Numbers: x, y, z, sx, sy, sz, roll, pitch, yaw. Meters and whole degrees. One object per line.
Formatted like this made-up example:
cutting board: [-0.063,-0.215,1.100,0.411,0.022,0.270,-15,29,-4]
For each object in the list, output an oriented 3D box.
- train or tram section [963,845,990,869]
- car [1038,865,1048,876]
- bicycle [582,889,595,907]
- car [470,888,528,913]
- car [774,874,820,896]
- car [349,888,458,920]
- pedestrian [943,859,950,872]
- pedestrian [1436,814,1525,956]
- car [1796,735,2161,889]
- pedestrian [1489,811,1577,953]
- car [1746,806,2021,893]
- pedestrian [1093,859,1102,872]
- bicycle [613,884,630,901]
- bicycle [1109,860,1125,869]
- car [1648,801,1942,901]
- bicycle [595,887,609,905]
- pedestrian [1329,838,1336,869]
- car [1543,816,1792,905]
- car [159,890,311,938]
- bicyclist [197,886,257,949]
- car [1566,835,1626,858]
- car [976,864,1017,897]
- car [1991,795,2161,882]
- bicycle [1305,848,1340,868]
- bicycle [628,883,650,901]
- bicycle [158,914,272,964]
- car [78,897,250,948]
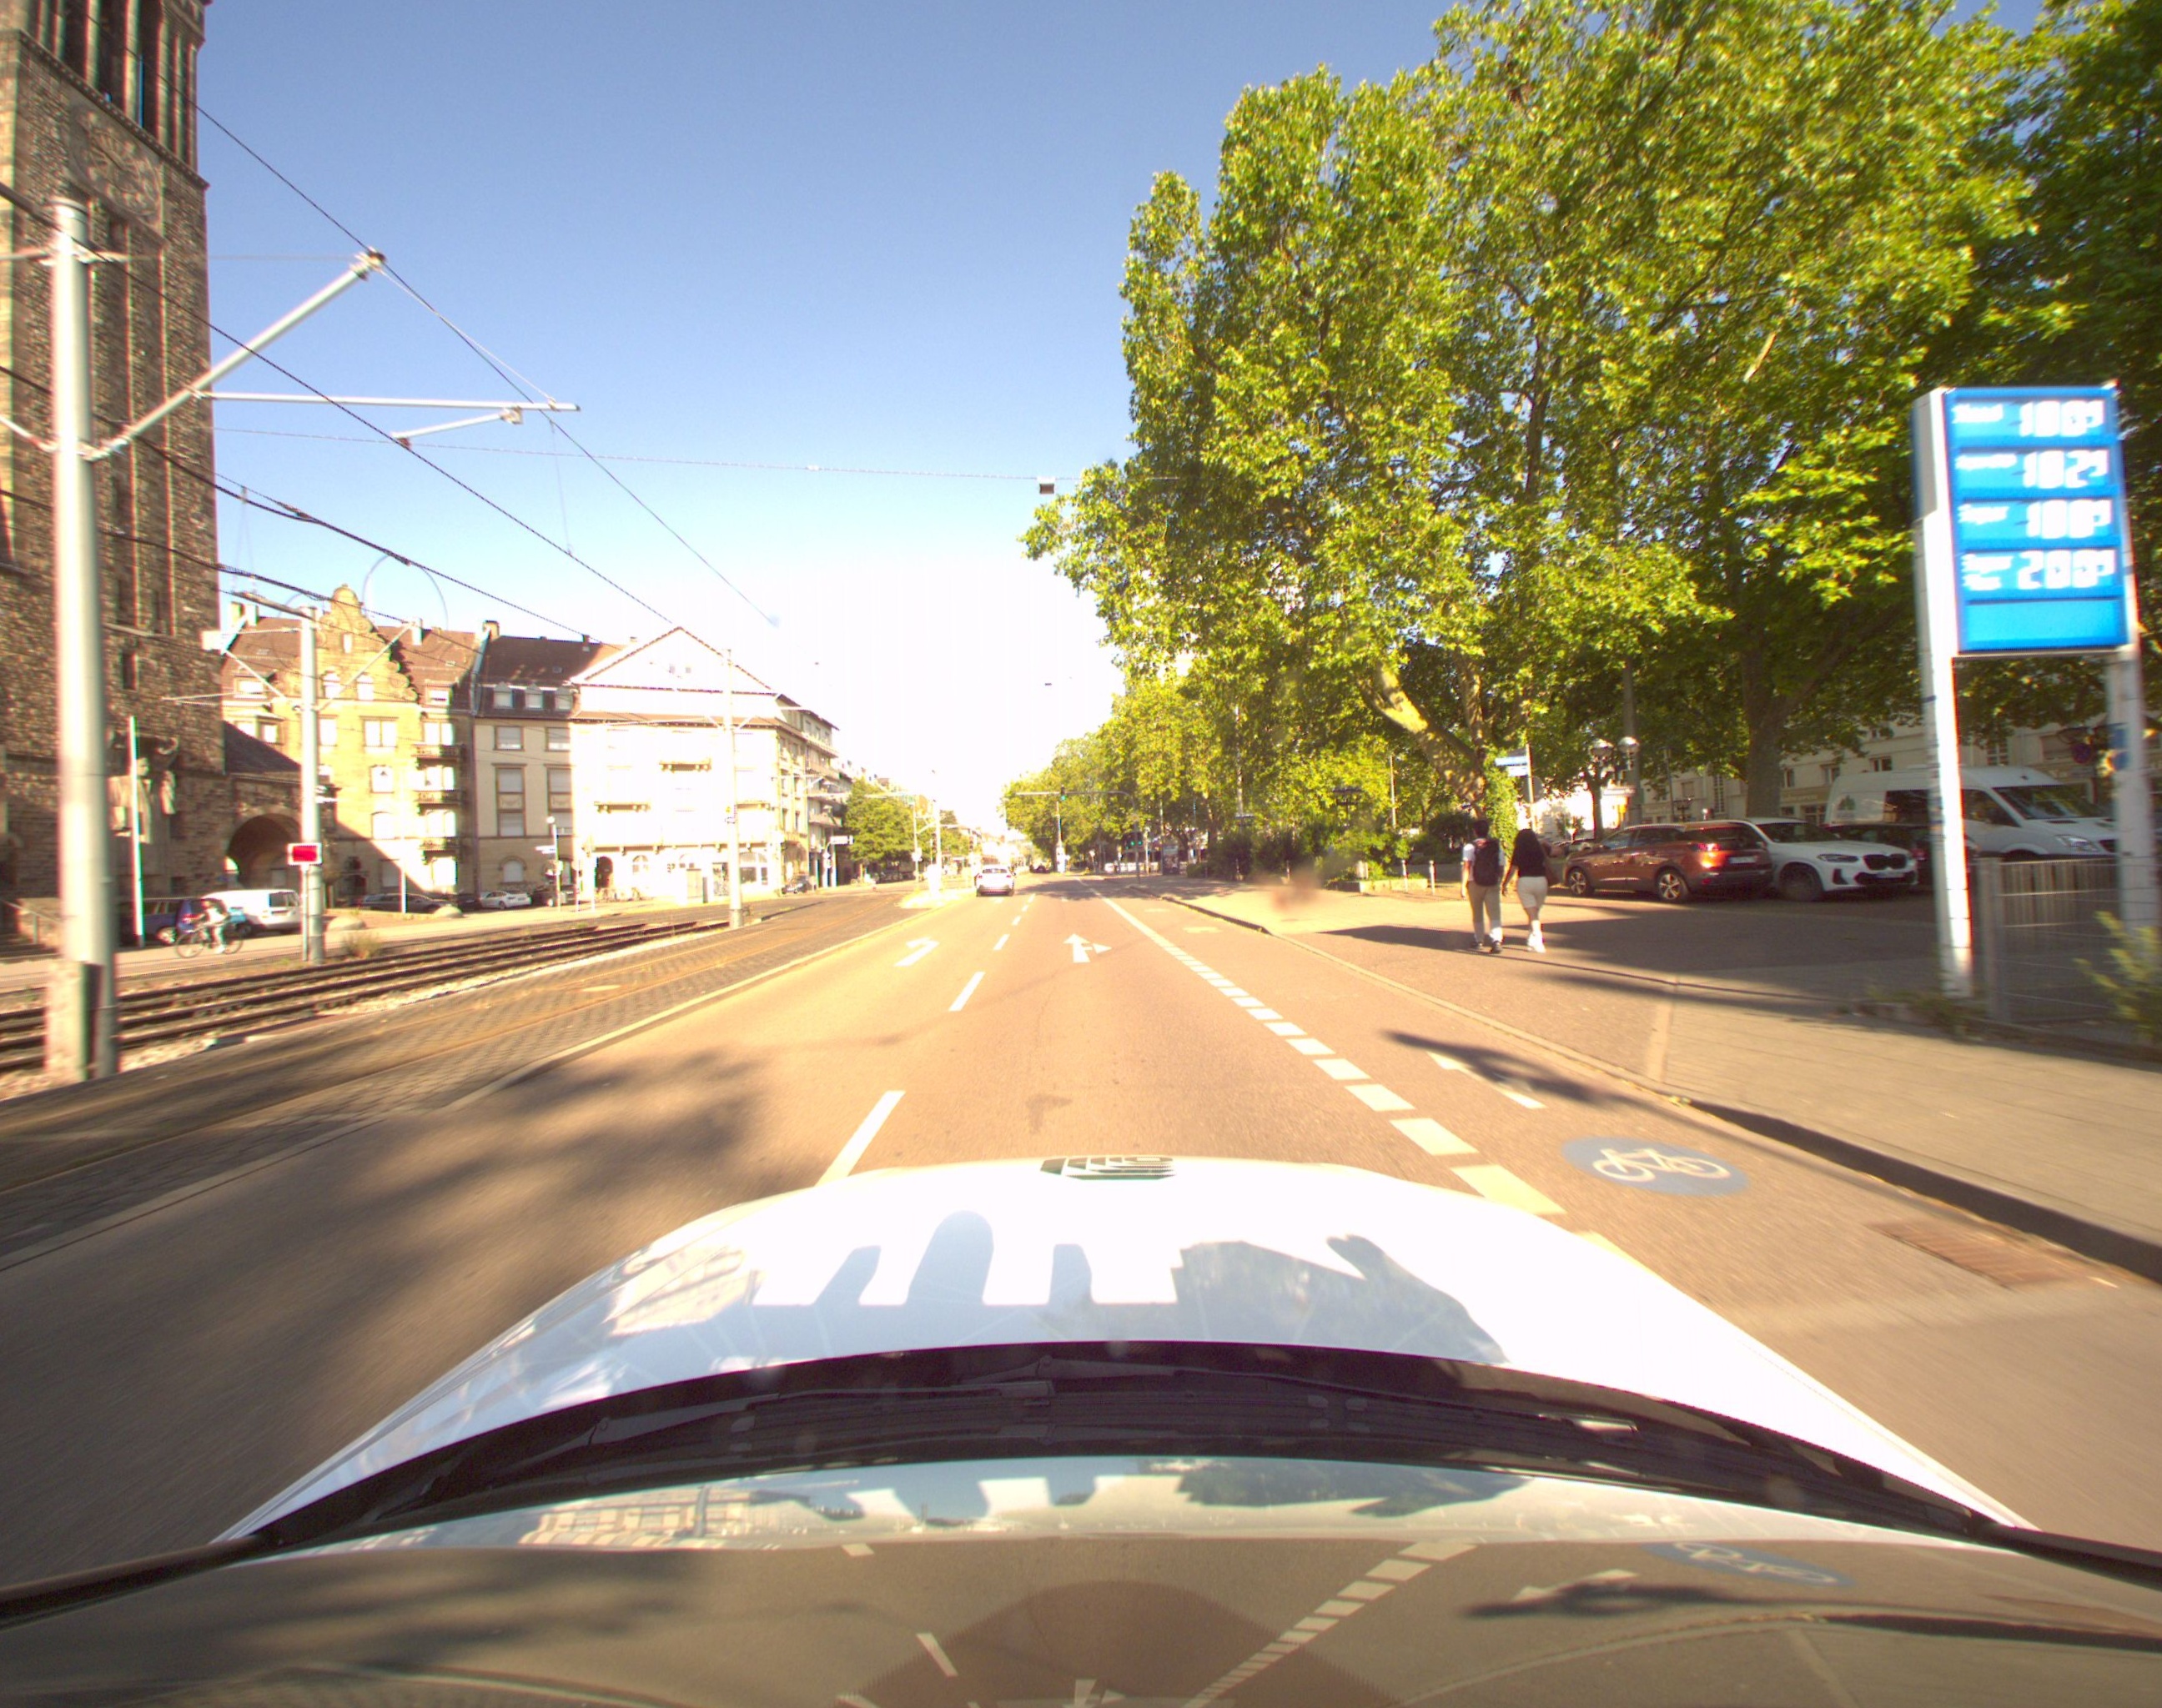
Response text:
train or tram section: [-15.672,0.506,122.888,2.944,3.410,10.783,0,0,-2]
car: [-7.291,3.190,156.517,1.988,2.014,3.997,0,0,-2]
bicycle: [-38.909,3.470,64.353,0.827,1.283,2.538,0,-1,-33]
car: [-44.194,3.495,61.796,4.539,1.753,2.013,0,-1,32]
car: [-22.457,2.427,64.673,1.988,1.449,4.837,-3,0,-2]
car: [-42.547,3.089,51.322,4.952,1.753,1.981,0,0,-29]
pedestrian: [-18.654,1.612,112.804,0.961,1.833,0.987,0,-1,-9]
pedestrian: [5.335,0.404,10.926,0.600,1.776,0.879,-6,-1,1]
car: [19.925,-0.790,18.387,2.235,2.833,5.792,-3,0,-2]
pedestrian: [5.972,0.360,10.795,0.600,1.776,0.690,-6,-1,1]
car: [16.868,-0.109,17.450,1.855,1.570,3.997,-3,1,-2]
pedestrian: [1.801,1.253,88.609,0.653,1.388,0.837,-1,-1,30]
bicycle: [-36.825,3.079,65.252,0.824,1.283,2.547,0,0,-21]
bicycle: [3.830,1.096,86.868,1.198,0.934,2.567,0,0,-8]
car: [14.660,-0.085,17.205,1.855,1.735,4.795,-3,1,-2]
bicycle: [-38.140,3.347,64.854,0.827,1.283,2.538,0,-1,-33]
pedestrian: [15.319,-0.047,49.610,0.389,1.866,0.340,0,-1,12]
car: [12.515,0.100,17.847,1.814,1.602,4.654,-3,1,-5]
car: [-33.207,2.333,32.048,3.974,1.756,1.894,0,0,0]
bicyclist: [-24.660,1.817,23.531,0.628,1.722,0.917,-5,0,4]
car: [43.958,-0.634,69.567,3.881,1.684,1.997,-3,0,-4]
car: [-4.020,1.223,39.163,1.741,1.462,3.640,0,0,-3]
car: [22.458,-0.338,17.150,1.990,1.739,3.994,-2,0,-4]
bicycle: [14.889,0.242,50.111,2.329,1.240,0.451,0,-1,-23]
bicycle: [-35.923,3.080,66.229,0.821,1.283,2.555,0,0,-10]
bicycle: [-24.638,2.386,23.239,0.628,1.144,2.282,-5,0,5]
car: [-32.739,2.428,29.177,3.974,1.629,1.894,0,0,0]
